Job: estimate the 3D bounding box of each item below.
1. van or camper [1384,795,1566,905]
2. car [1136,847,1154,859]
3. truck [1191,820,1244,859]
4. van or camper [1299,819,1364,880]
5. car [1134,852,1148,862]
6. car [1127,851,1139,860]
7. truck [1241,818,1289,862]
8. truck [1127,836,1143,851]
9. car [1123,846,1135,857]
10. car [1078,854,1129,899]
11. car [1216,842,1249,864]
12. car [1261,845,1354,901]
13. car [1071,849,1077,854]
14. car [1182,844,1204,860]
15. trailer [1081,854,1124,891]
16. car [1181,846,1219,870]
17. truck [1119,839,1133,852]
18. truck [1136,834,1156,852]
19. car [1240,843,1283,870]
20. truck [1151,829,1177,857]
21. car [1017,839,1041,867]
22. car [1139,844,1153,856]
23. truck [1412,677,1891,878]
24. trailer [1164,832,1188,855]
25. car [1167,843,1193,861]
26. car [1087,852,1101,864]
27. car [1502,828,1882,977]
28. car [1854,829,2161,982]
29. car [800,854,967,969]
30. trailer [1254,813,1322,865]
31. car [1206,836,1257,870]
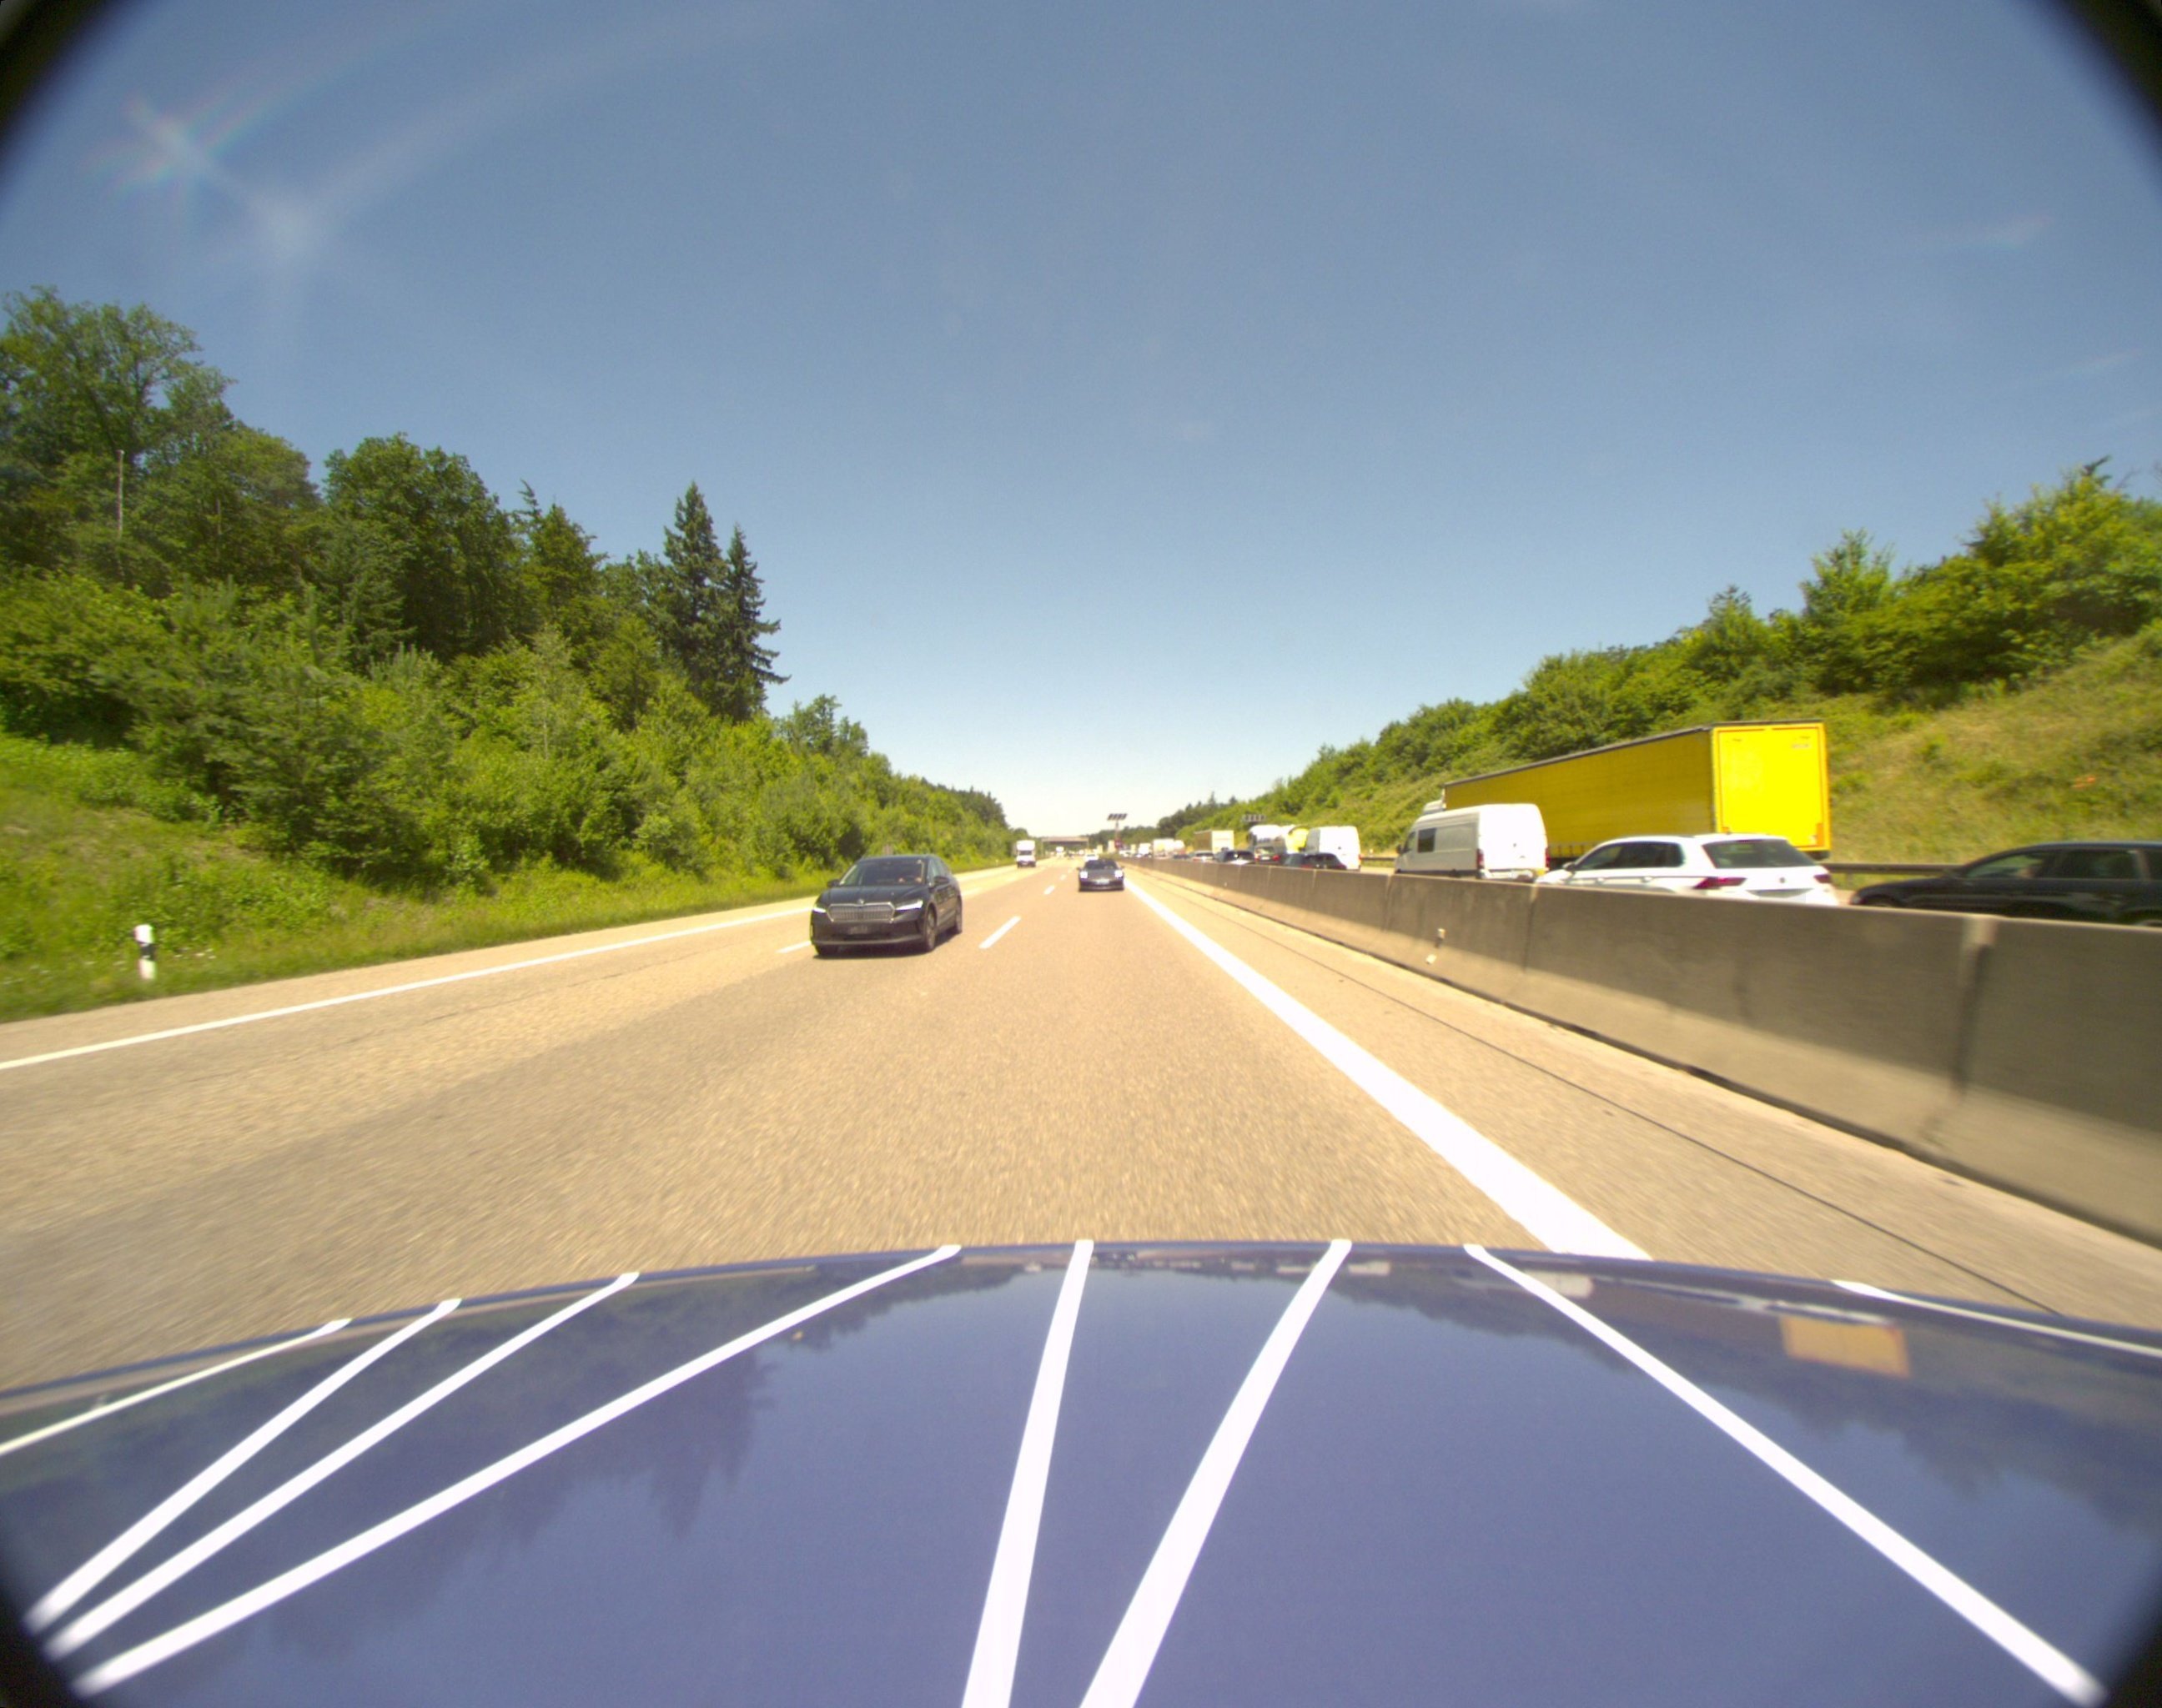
[{"bbox_3d":[12.280,-0.172,24.535,2.202,2.922,7.534,-2,1,3],"label":"van or camper"},{"bbox_3d":[8.534,-0.128,101.469,1.832,1.488,4.757,-2,1,-1],"label":"car"},{"bbox_3d":[17.351,-1.895,98.310,3.706,4.431,17.378,-2,1,1],"label":"truck"},{"bbox_3d":[12.679,-0.295,38.922,2.255,2.760,7.222,-2,1,11],"label":"van or camper"},{"bbox_3d":[9.471,0.423,120.280,1.832,1.488,4.757,-2,1,-1],"label":"car"},{"bbox_3d":[9.573,0.316,139.732,1.832,1.488,4.757,-2,1,-1],"label":"car"},{"bbox_3d":[16.627,-1.253,69.000,2.685,3.722,5.870,-2,1,-1],"label":"truck"},{"bbox_3d":[17.044,-3.483,240.003,3.706,4.431,19.448,-2,1,1],"label":"truck"},{"bbox_3d":[9.906,-0.554,157.588,1.831,1.966,5.663,-2,1,-1],"label":"car"},{"bbox_3d":[0.871,0.774,28.693,1.718,1.432,4.457,-2,1,3],"label":"car"},{"bbox_3d":[13.227,-0.127,66.551,1.832,1.754,4.990,-2,1,0],"label":"car"},{"bbox_3d":[8.038,0.593,27.443,1.832,1.754,4.989,-2,1,0],"label":"car"},{"bbox_3d":[-2.121,-0.643,233.435,1.719,1.431,4.015,-2,0,-1],"label":"car"},{"bbox_3d":[13.235,-0.247,89.905,1.832,1.754,4.989,-2,1,0],"label":"car"},{"bbox_3d":[0.947,0.733,32.007,1.688,1.399,3.046,-2,1,3],"label":"trailer"},{"bbox_3d":[8.492,0.246,54.523,1.832,1.488,4.757,-2,1,-1],"label":"car"},{"bbox_3d":[15.945,-3.097,272.129,3.706,4.431,19.448,-2,1,1],"label":"truck"},{"bbox_3d":[17.345,-2.892,204.766,3.706,4.431,19.448,-2,1,1],"label":"truck"},{"bbox_3d":[12.883,0.151,54.432,2.002,1.718,4.758,-2,1,1],"label":"car"},{"bbox_3d":[9.265,-1.248,85.192,2.273,2.999,6.776,-2,1,2],"label":"truck"},{"bbox_3d":[-6.549,-0.226,96.473,2.303,3.317,7.620,-2,1,0],"label":"car"},{"bbox_3d":[13.659,-0.935,160.600,2.190,2.371,6.539,-2,1,0],"label":"car"},{"bbox_3d":[16.694,-1.877,25.697,3.706,4.431,16.672,-2,1,0],"label":"truck"},{"bbox_3d":[17.107,-1.775,137.266,2.584,3.272,11.702,-2,-3,-1],"label":"trailer"},{"bbox_3d":[8.984,-0.250,69.342,1.832,1.488,4.759,-2,1,2],"label":"car"},{"bbox_3d":[1.686,0.520,97.816,1.718,1.432,4.456,-1,1,0],"label":"car"},{"bbox_3d":[8.835,0.551,11.750,1.832,1.754,4.989,-2,1,0],"label":"car"},{"bbox_3d":[12.256,0.519,8.886,1.832,1.556,4.522,-2,1,0],"label":"car"},{"bbox_3d":[-3.335,0.881,13.808,1.990,1.610,4.455,-2,1,-2],"label":"car"},{"bbox_3d":[16.634,-1.134,61.791,2.616,3.711,10.681,-2,0,1],"label":"trailer"},{"bbox_3d":[8.487,-0.093,43.195,1.832,1.754,4.989,-2,1,0],"label":"car"}]
